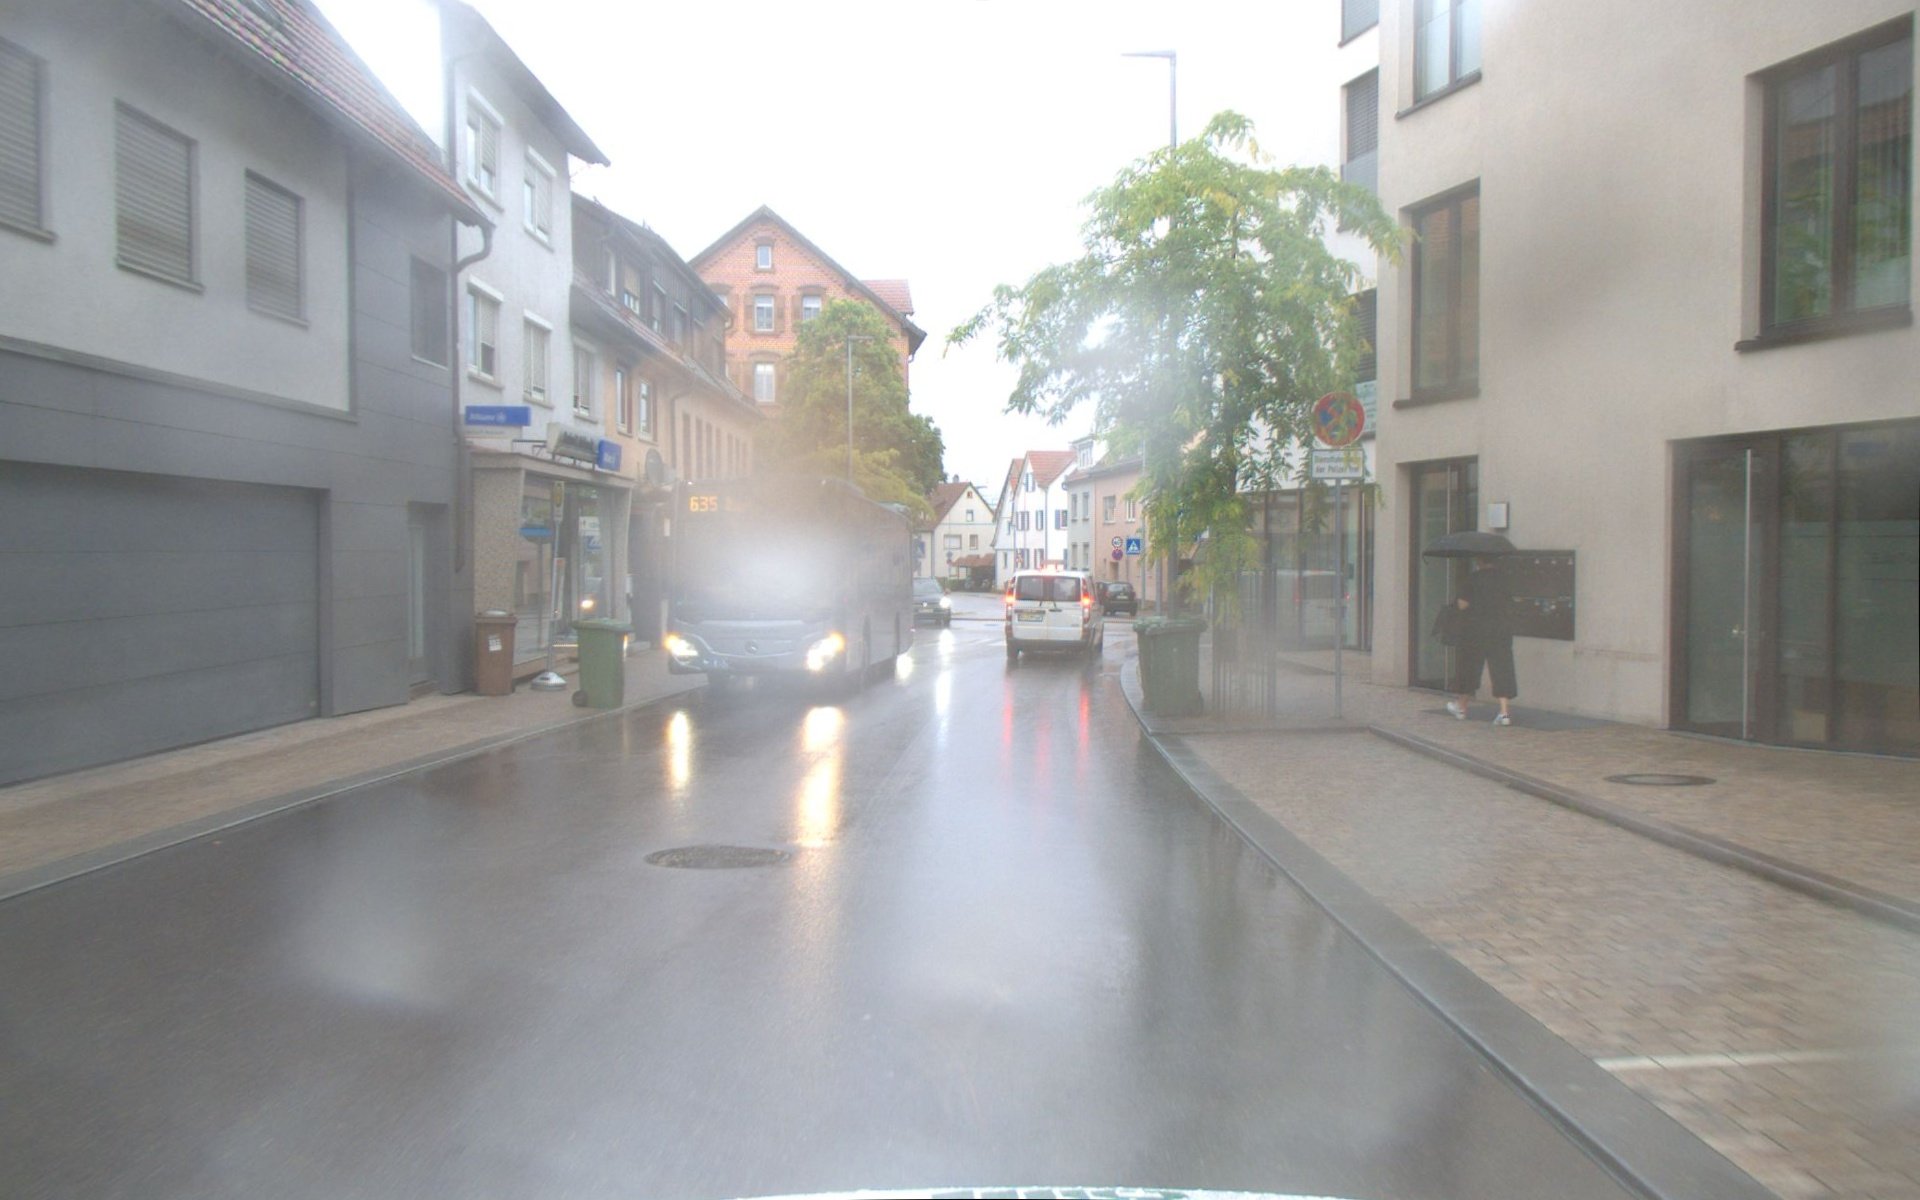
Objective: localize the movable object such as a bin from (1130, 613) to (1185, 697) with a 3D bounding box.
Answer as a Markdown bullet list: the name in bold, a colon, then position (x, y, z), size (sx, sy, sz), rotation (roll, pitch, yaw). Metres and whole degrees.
- **movable object such as a bin**: position (2.725, 0.754, 22.871), size (0.708, 1.137, 0.577), rotation (1, 0, 4)

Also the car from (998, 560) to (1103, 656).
- **car**: position (2.041, 0.172, 36.172), size (2.107, 1.932, 4.928), rotation (1, 0, 4)

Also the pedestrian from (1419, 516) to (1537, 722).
- **pedestrian**: position (5.333, 0.195, 17.086), size (0.849, 2.049, 1.082), rotation (1, 0, -1)

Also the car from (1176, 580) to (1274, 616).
- **car**: position (11.963, -0.081, 74.802), size (3.916, 1.512, 1.995), rotation (1, 0, -11)

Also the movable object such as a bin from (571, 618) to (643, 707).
- **movable object such as a bin**: position (-4.434, 0.781, 20.800), size (0.725, 1.078, 0.726), rotation (1, 0, 0)

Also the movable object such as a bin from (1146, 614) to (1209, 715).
- **movable object such as a bin**: position (2.641, 0.778, 20.084), size (0.735, 1.191, 0.631), rotation (-1, 0, 7)

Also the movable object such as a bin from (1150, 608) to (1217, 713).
- **movable object such as a bin**: position (2.588, 0.693, 19.193), size (0.735, 1.191, 0.631), rotation (-1, 0, 7)

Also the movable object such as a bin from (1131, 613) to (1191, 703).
- **movable object such as a bin**: position (2.627, 0.747, 21.674), size (0.745, 1.137, 0.624), rotation (1, 0, 4)

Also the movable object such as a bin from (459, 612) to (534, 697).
- **movable object such as a bin**: position (-6.121, 0.710, 21.885), size (0.776, 1.078, 0.701), rotation (1, 0, 0)

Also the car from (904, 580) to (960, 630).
- **car**: position (-0.883, 0.125, 54.518), size (1.750, 1.534, 4.469), rotation (1, 1, 0)

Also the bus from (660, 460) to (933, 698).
- **bus**: position (-2.281, -0.346, 27.548), size (2.666, 3.133, 10.952), rotation (1, 1, 4)

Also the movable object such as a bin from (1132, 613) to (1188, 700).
- **movable object such as a bin**: position (2.690, 0.750, 22.285), size (0.708, 1.137, 0.577), rotation (1, 0, 4)

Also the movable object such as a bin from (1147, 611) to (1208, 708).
- **movable object such as a bin**: position (2.724, 0.738, 20.741), size (0.735, 1.191, 0.631), rotation (-1, 0, 7)
